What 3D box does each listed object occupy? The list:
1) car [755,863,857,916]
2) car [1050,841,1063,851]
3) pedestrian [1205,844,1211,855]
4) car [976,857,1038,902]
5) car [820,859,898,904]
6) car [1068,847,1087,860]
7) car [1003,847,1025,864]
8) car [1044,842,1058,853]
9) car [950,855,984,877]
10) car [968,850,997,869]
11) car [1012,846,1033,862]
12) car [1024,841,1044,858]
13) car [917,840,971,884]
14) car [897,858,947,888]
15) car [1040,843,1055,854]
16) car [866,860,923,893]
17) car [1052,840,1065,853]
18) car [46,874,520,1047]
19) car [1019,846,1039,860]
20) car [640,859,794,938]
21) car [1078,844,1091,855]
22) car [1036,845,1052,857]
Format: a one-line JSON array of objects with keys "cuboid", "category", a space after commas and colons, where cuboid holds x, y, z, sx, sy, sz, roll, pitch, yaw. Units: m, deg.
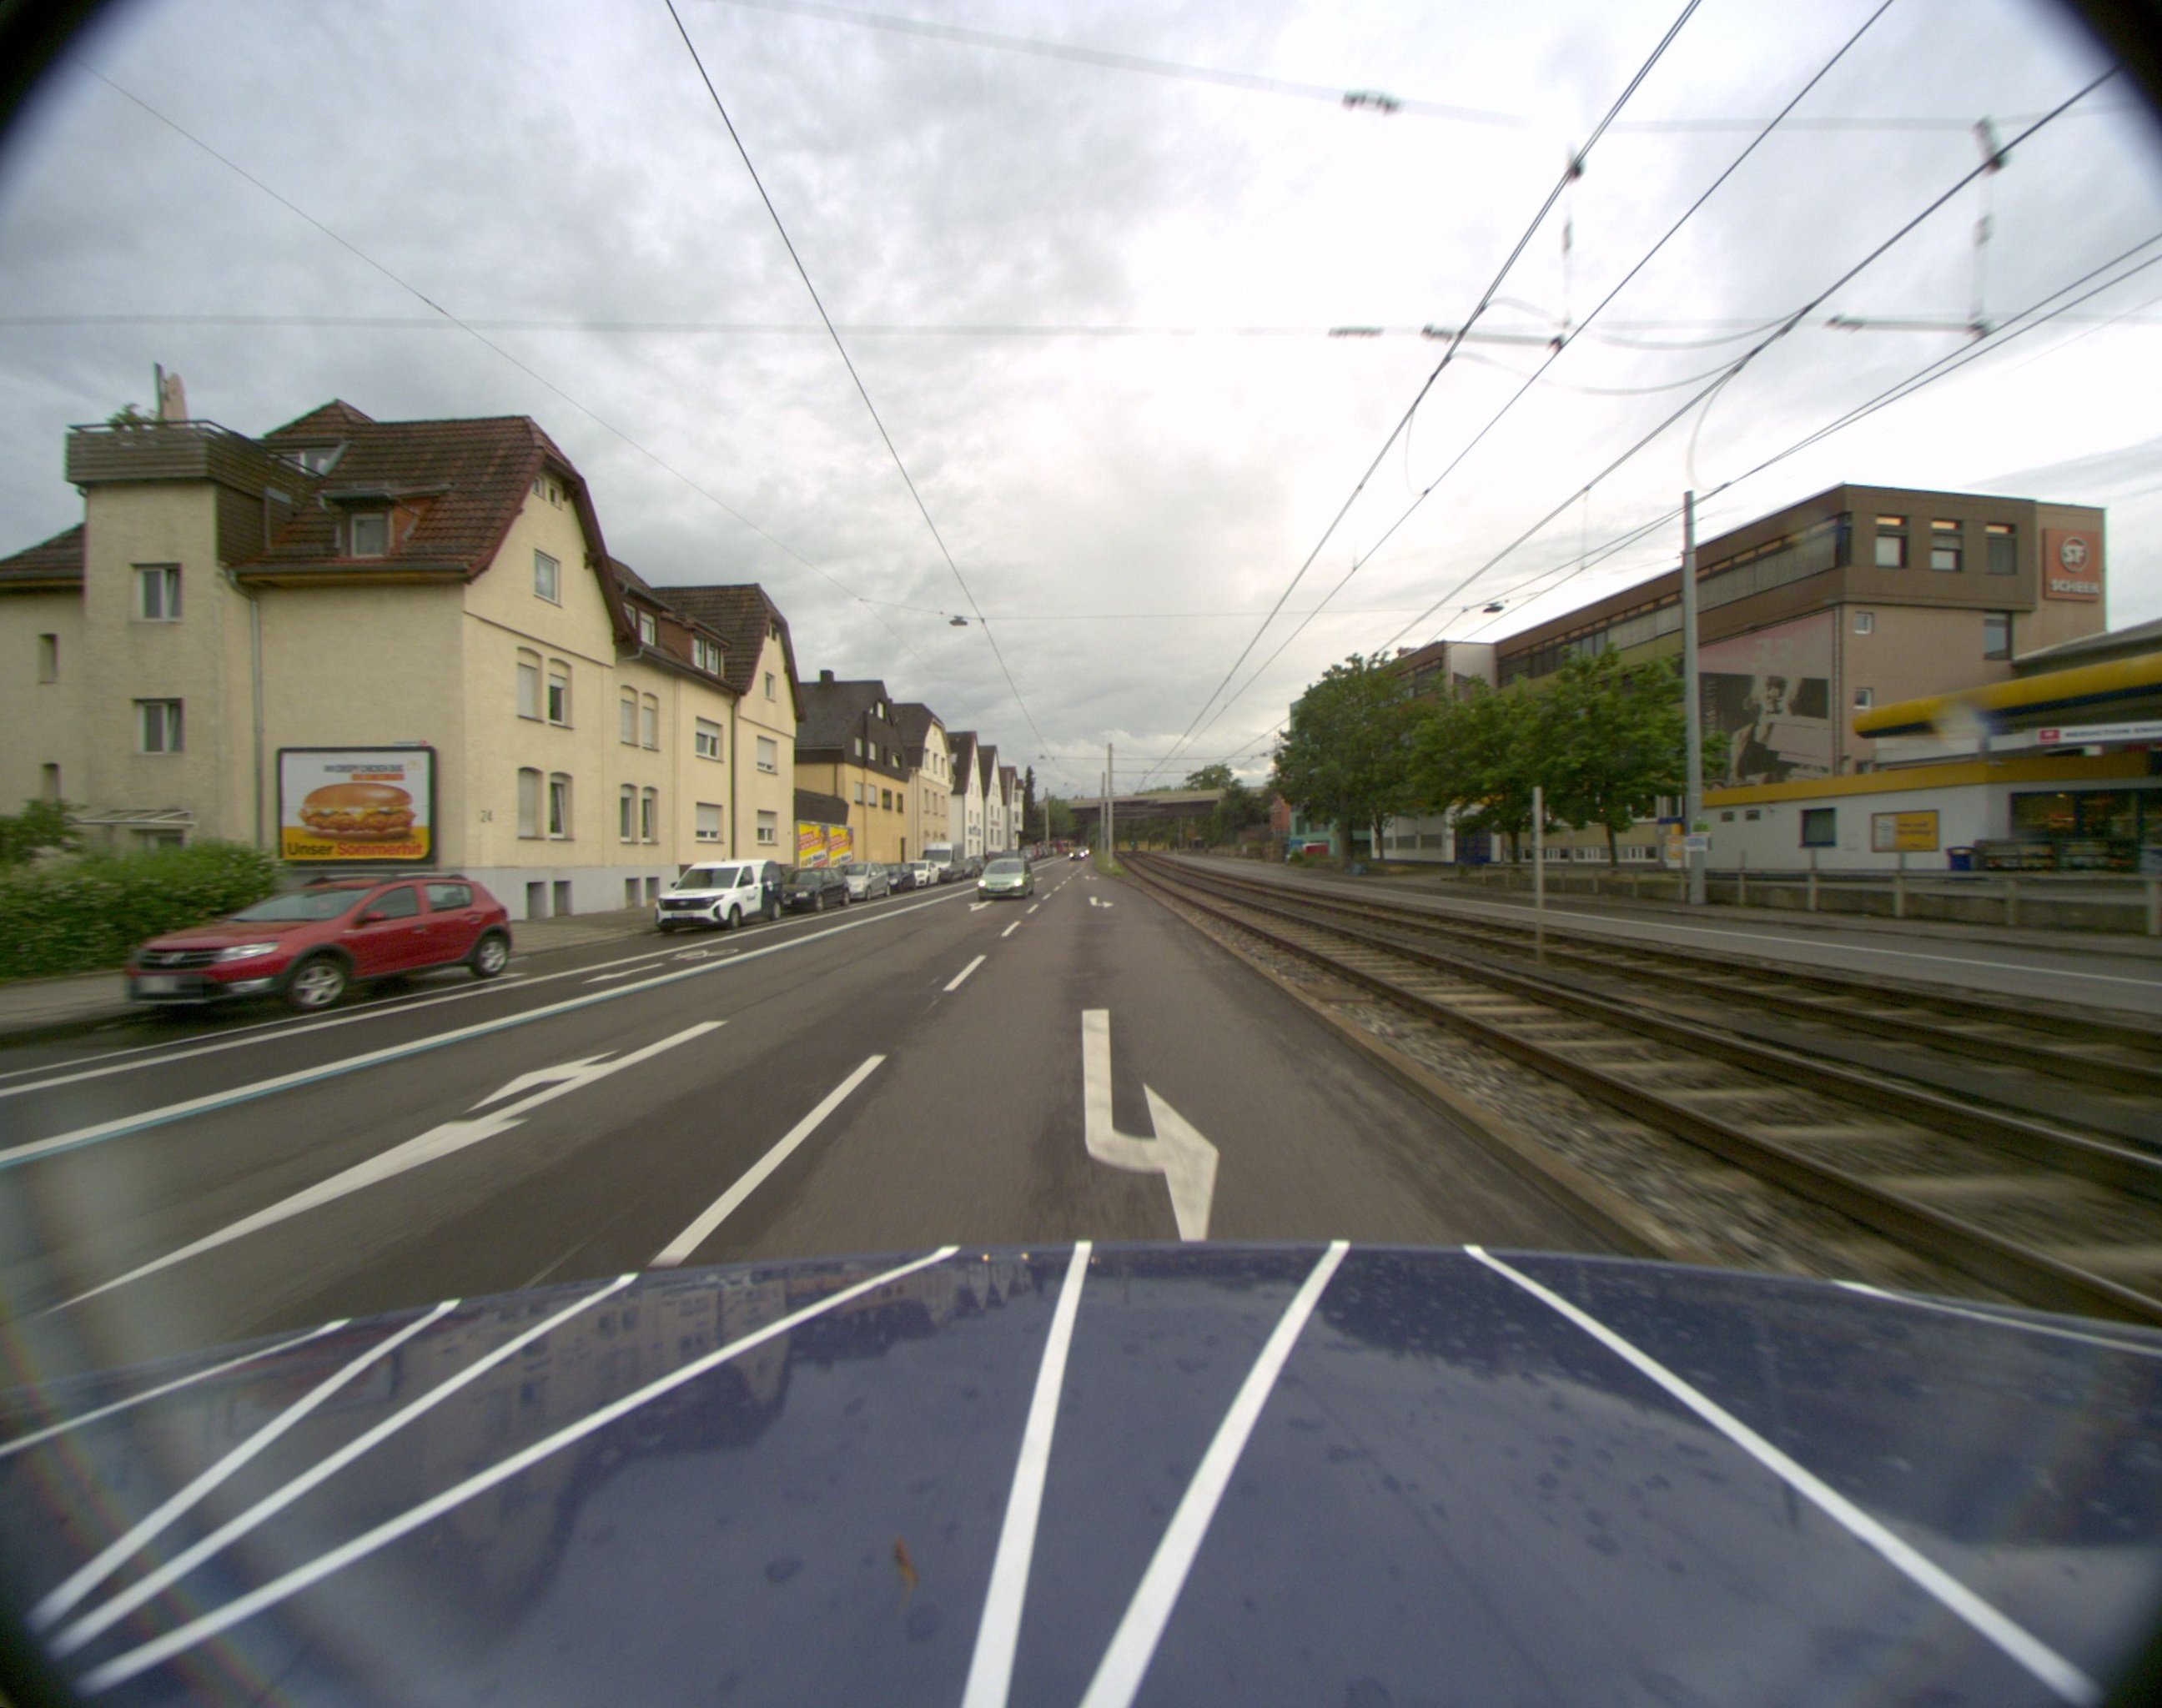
[{"cuboid": [-9.014, 1.107, 25.299, 1.690, 1.503, 4.137, -2, 0, 2], "category": "car"}, {"cuboid": [-3.985, -1.319, 122.468, 1.726, 1.539, 4.201, -2, 1, 3], "category": "car"}, {"cuboid": [18.877, -0.671, 112.824, 0.747, 1.635, 1.021, -1, 1, 2], "category": "pedestrian"}, {"cuboid": [-2.753, 0.906, 29.149, 1.888, 1.441, 4.200, -2, 1, 0], "category": "car"}, {"cuboid": [-8.915, 1.054, 30.893, 1.705, 1.557, 4.282, -2, 1, 2], "category": "car"}, {"cuboid": [-0.405, -0.102, 90.621, 1.887, 1.416, 4.201, -2, 1, 3], "category": "car"}, {"cuboid": [-6.896, 0.123, 78.560, 1.726, 1.539, 4.201, -2, 1, 3], "category": "car"}, {"cuboid": [-4.533, -0.971, 116.705, 1.726, 1.539, 4.201, -2, 1, 3], "category": "car"}, {"cuboid": [-8.053, 0.840, 53.753, 1.726, 1.338, 4.084, -2, 1, 0], "category": "car"}, {"cuboid": [-7.753, 0.423, 60.025, 1.726, 1.338, 4.200, -2, 1, 0], "category": "car"}, {"cuboid": [-6.443, -0.010, 83.800, 1.726, 1.539, 4.201, -2, 1, 3], "category": "car"}, {"cuboid": [-5.863, -0.572, 94.900, 1.977, 1.984, 4.434, -2, 1, 2], "category": "car"}, {"cuboid": [-8.349, 0.391, 46.913, 2.045, 2.485, 5.920, -2, 1, 1], "category": "car"}, {"cuboid": [-8.567, 0.982, 41.229, 1.605, 1.456, 4.201, -2, 1, 2], "category": "car"}, {"cuboid": [-4.876, -0.837, 110.988, 1.726, 1.539, 4.201, -2, 1, 3], "category": "car"}, {"cuboid": [-8.855, 1.046, 36.418, 1.605, 1.393, 3.792, -2, 0, 2], "category": "car"}, {"cuboid": [-3.744, -1.339, 127.036, 1.726, 2.079, 4.201, -2, 1, 3], "category": "car"}, {"cuboid": [-9.877, 1.175, 10.017, 1.841, 1.618, 4.099, -2, 0, 1], "category": "car"}, {"cuboid": [-6.082, -0.160, 89.220, 1.726, 1.539, 4.201, -2, 1, 3], "category": "car"}, {"cuboid": [-9.342, 1.059, 19.982, 1.852, 1.746, 4.521, -2, 0, -1], "category": "car"}, {"cuboid": [0.504, -0.632, 108.850, 1.888, 1.416, 4.200, -2, 1, 0], "category": "car"}, {"cuboid": [-5.180, -0.479, 106.475, 1.726, 1.539, 4.201, -2, 1, 3], "category": "car"}]
